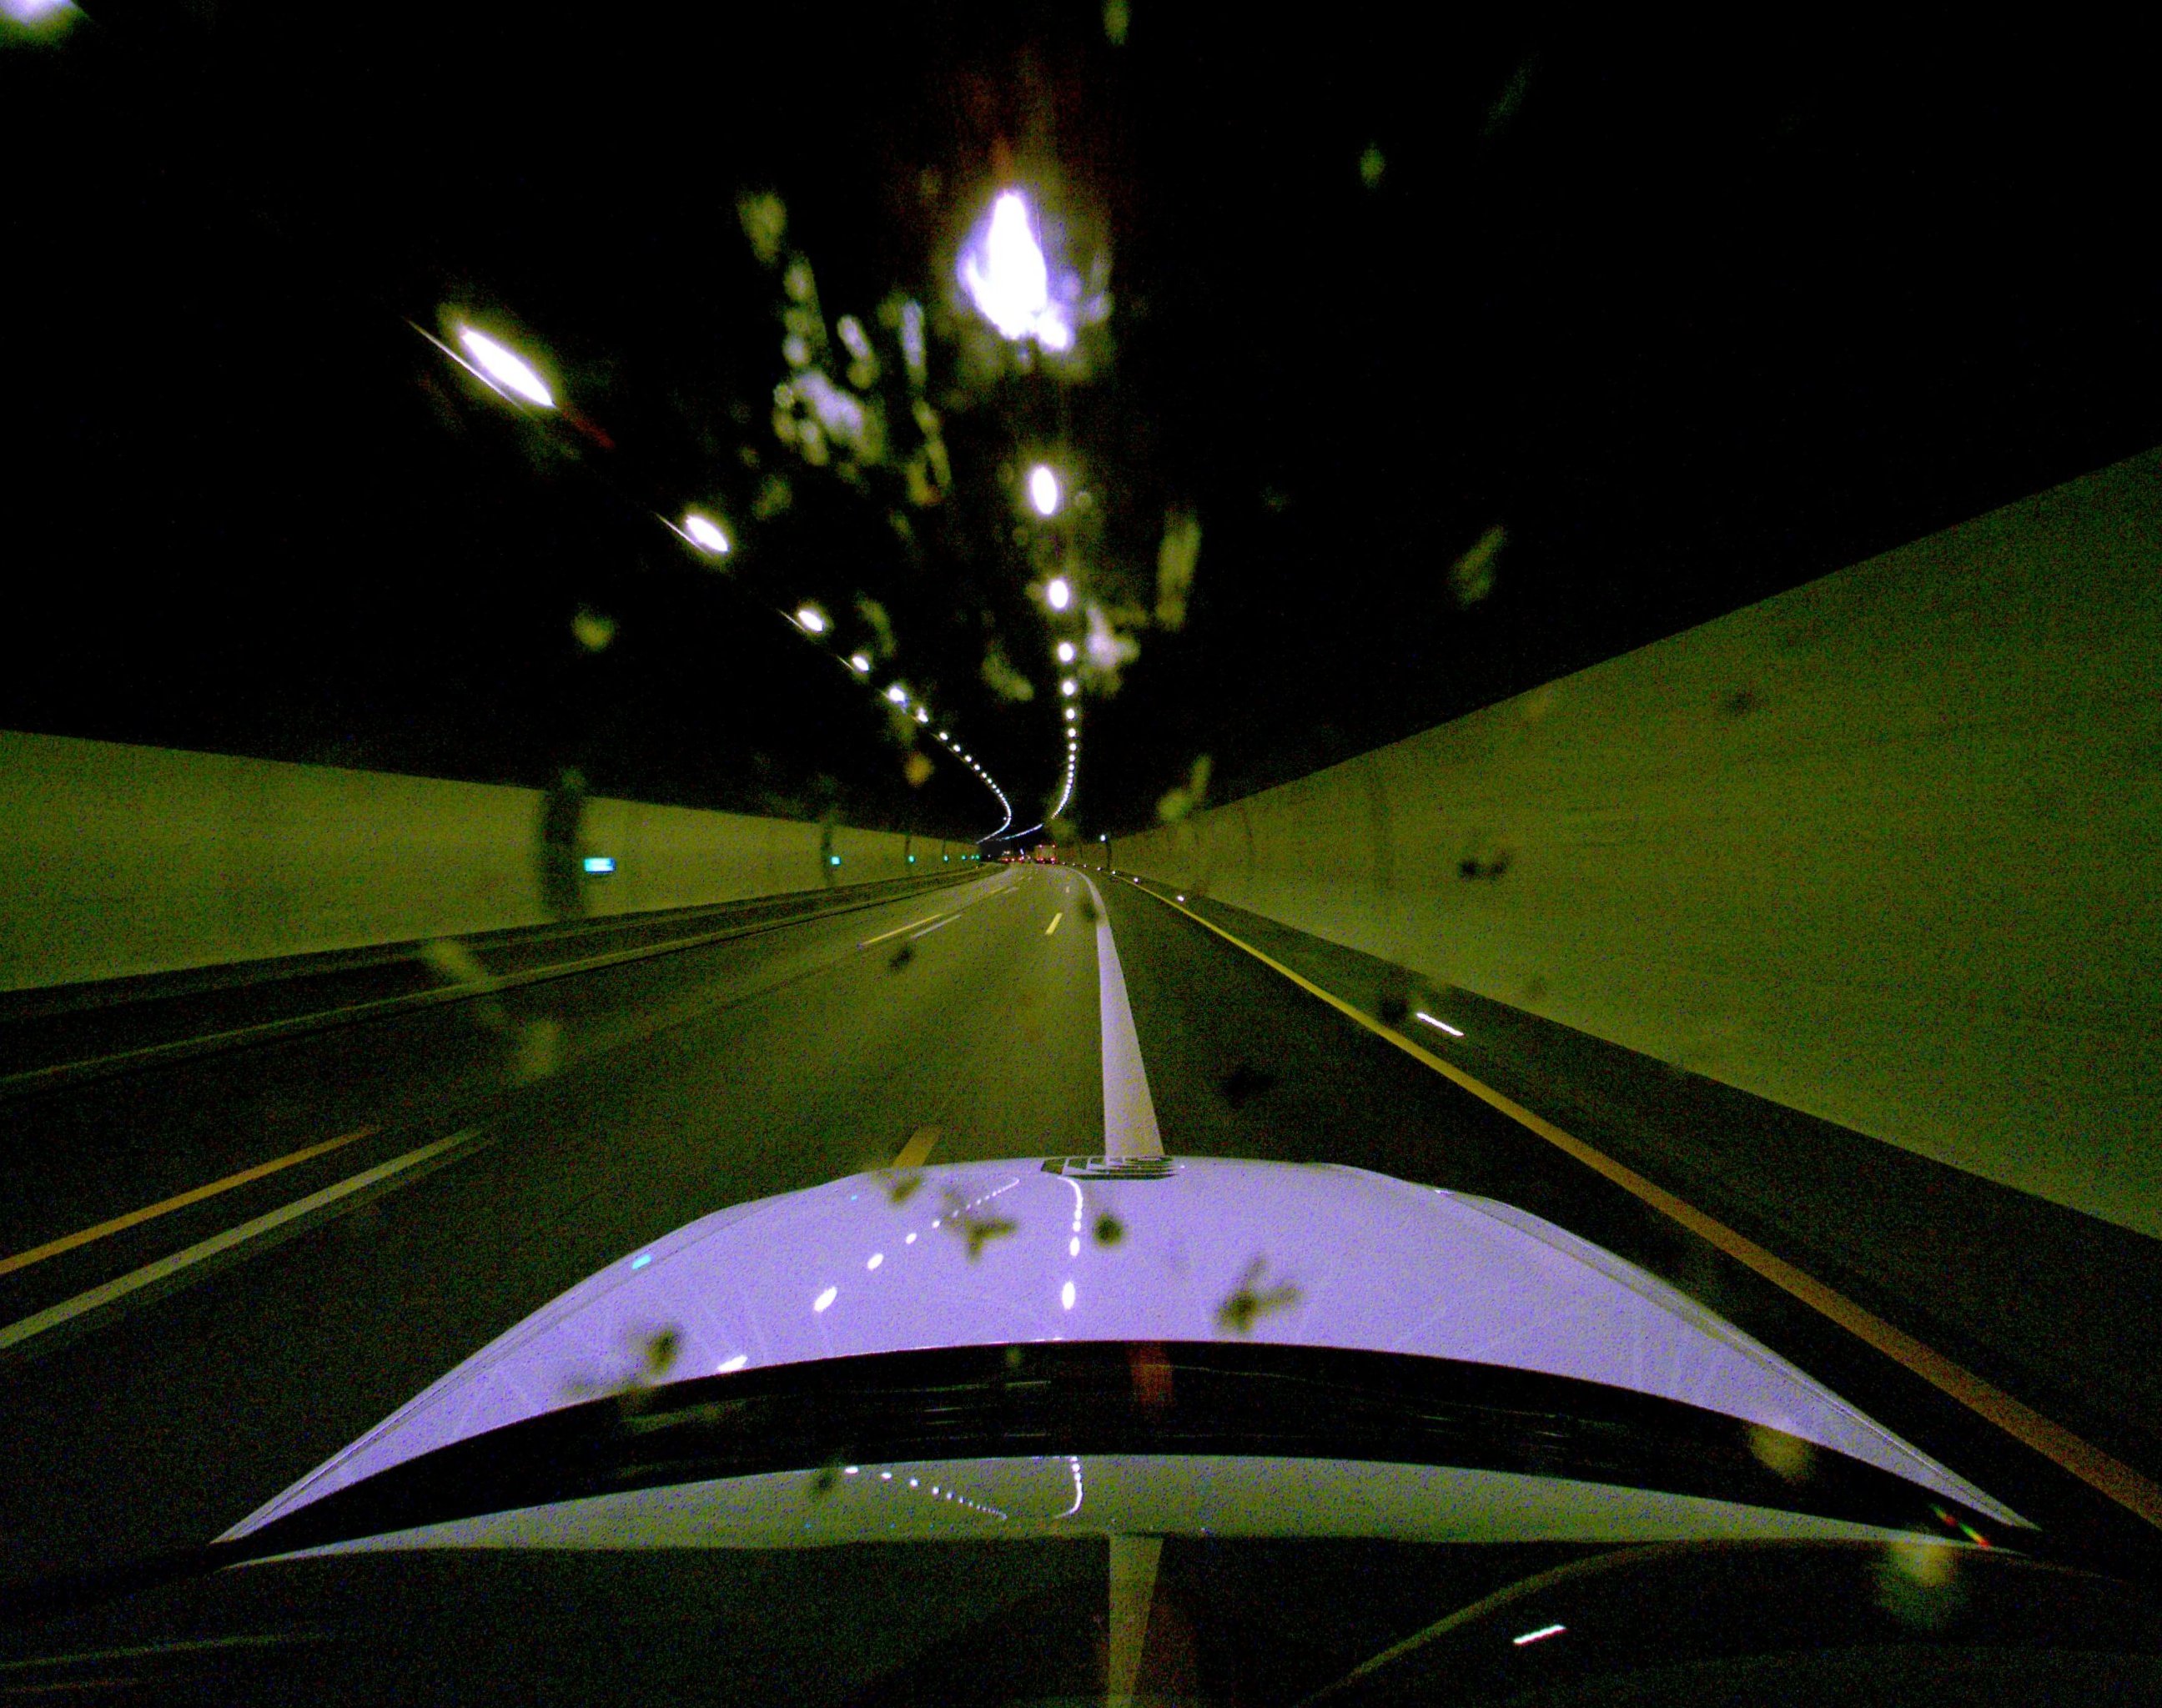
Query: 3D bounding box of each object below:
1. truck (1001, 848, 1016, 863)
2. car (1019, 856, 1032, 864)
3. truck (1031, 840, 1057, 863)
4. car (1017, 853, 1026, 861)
[{"bbox_3d":[-22.756,0.448,254.926,3.476,4.316,10.909,-2,0,-11],"label":"truck"},{"bbox_3d":[-10.866,1.156,160.358,1.995,1.582,3.983,0,0,-12],"label":"car"},{"bbox_3d":[-7.213,-0.485,157.154,3.476,4.316,10.909,-1,0,-11],"label":"truck"},{"bbox_3d":[-15.820,0.843,215.614,1.993,2.013,3.987,-1,0,-10],"label":"car"}]
